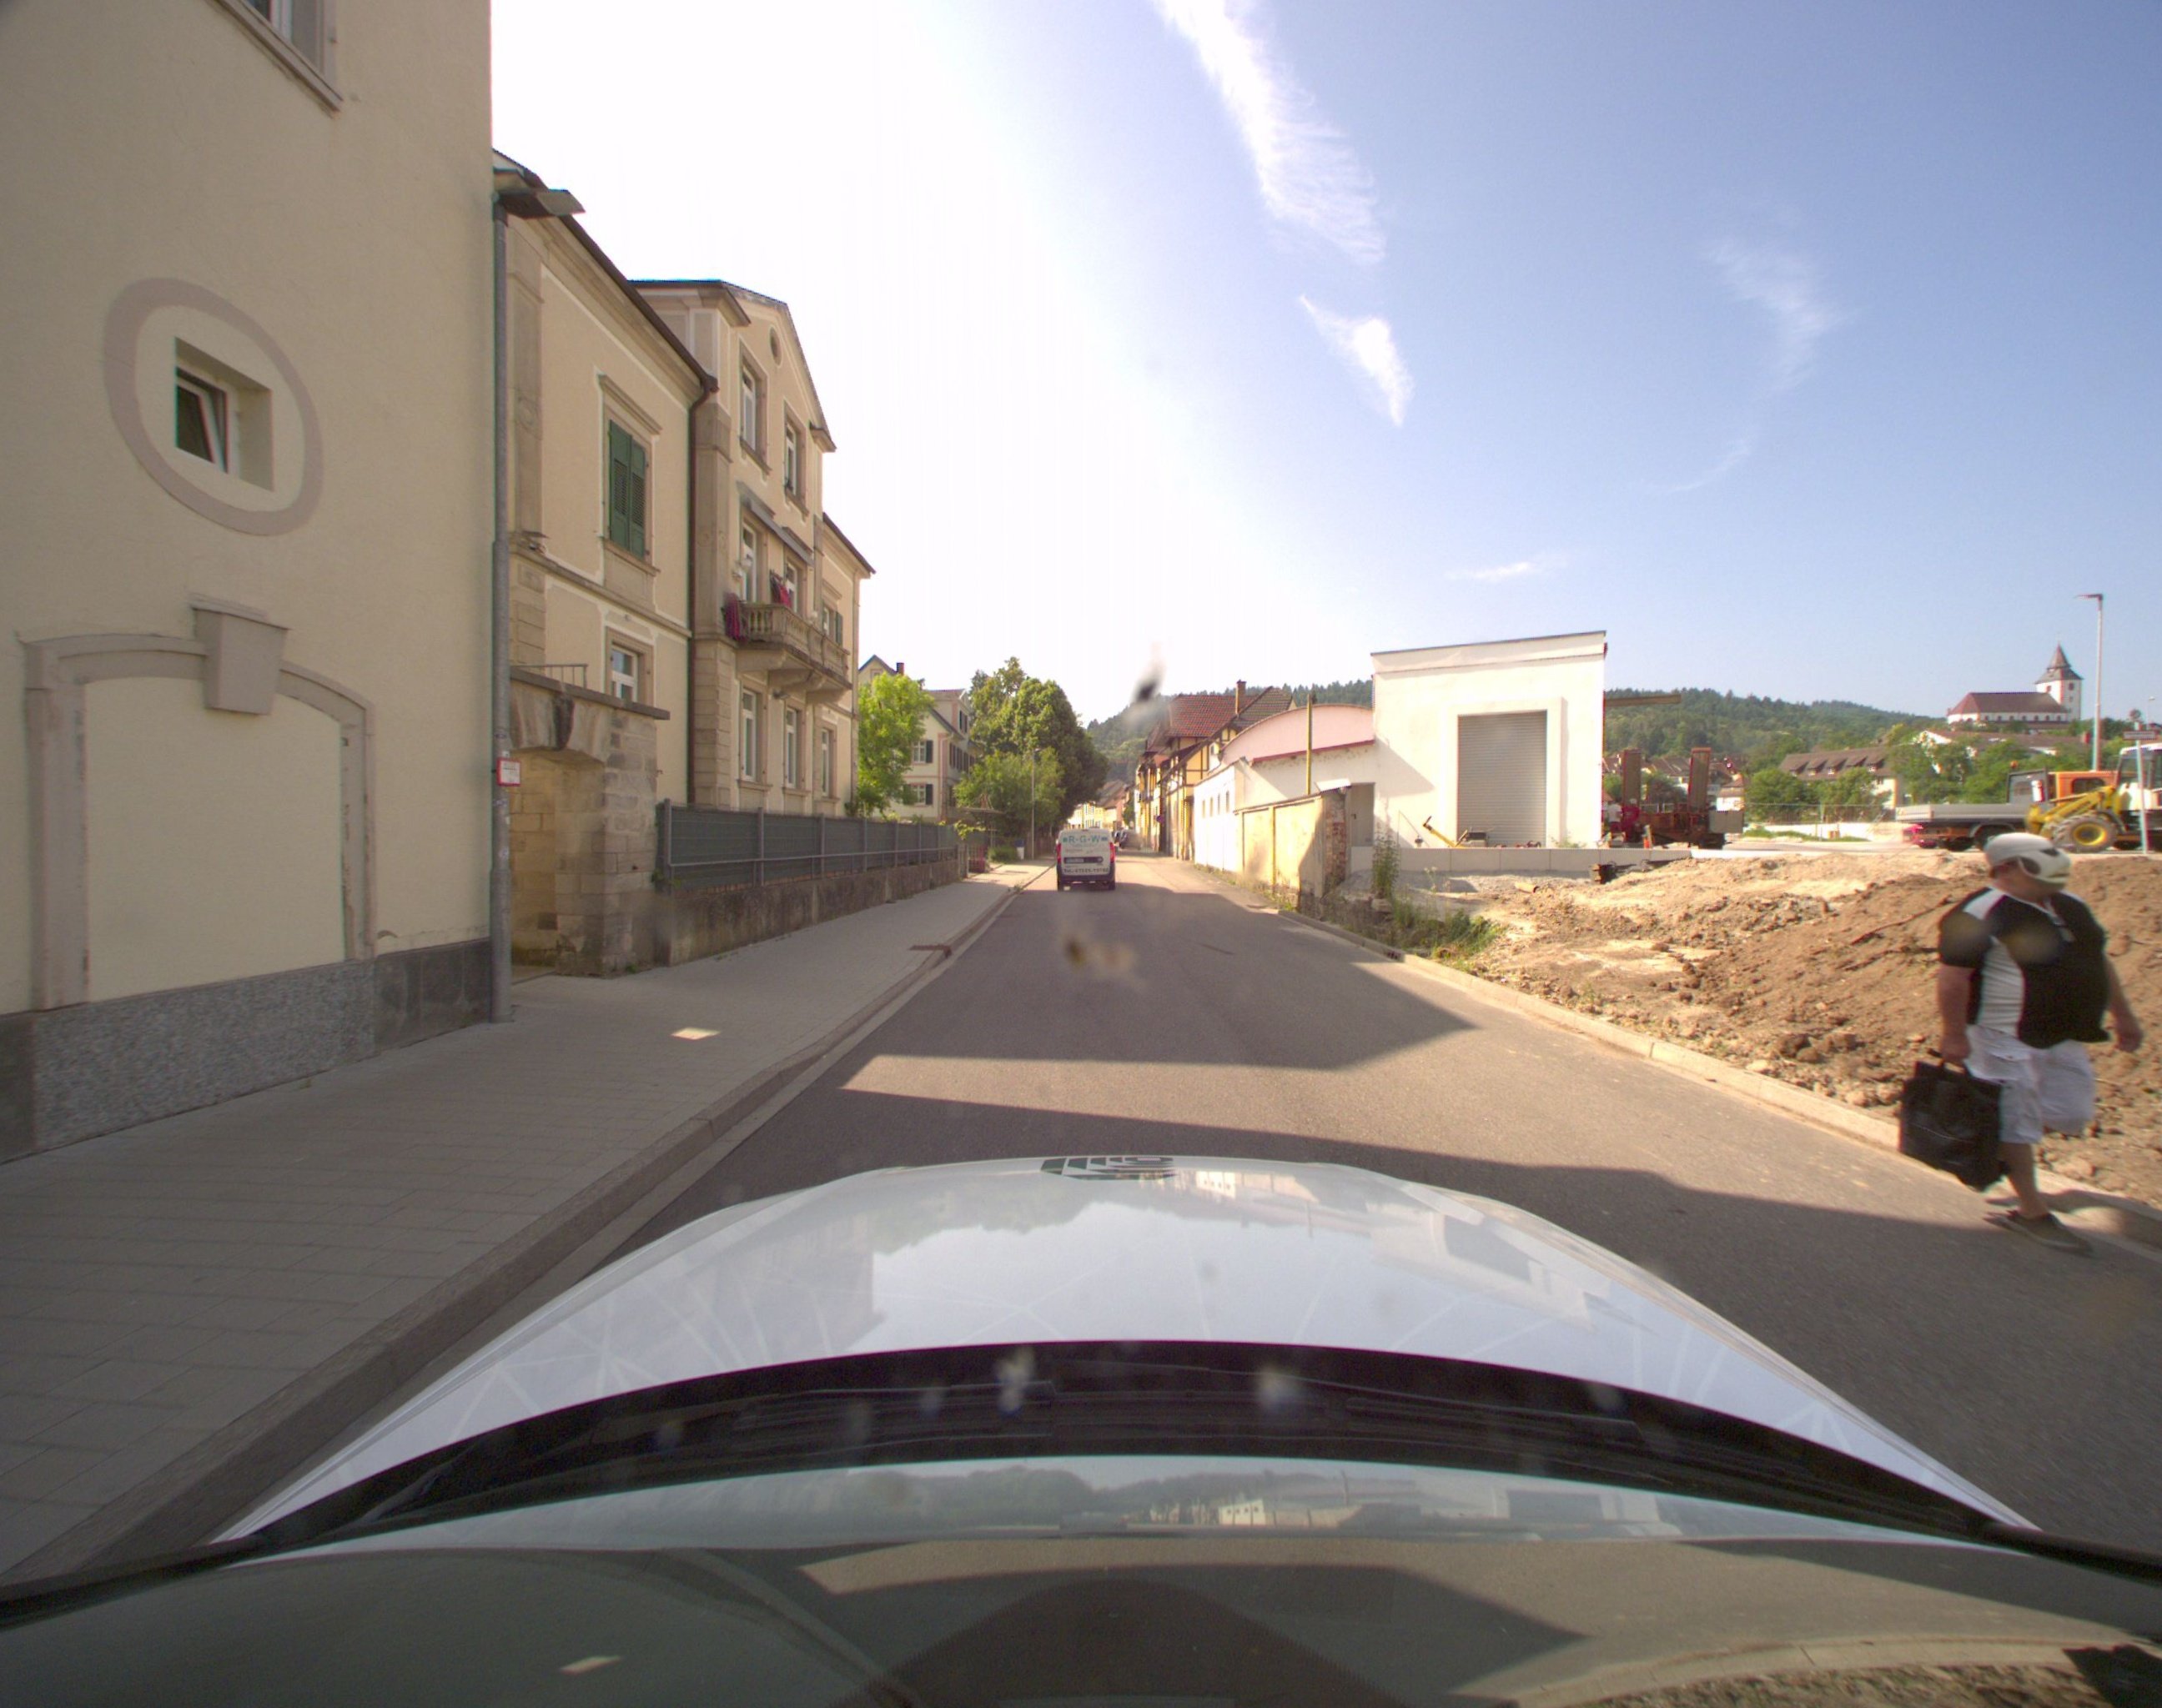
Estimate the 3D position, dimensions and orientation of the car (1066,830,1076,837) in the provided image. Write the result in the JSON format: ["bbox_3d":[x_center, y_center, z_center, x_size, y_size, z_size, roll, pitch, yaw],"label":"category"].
[{"bbox_3d":[-2.522,-5.010,200.101,1.772,1.798,3.986,0,1,-10],"label":"car"}]

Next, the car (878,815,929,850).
[{"bbox_3d":[-9.934,-1.211,45.876,1.817,1.772,4.681,4,2,-1],"label":"car"}]

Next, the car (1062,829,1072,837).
[{"bbox_3d":[-3.578,-5.322,206.285,1.772,1.798,3.986,0,1,-10],"label":"car"}]

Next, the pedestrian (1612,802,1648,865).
[{"bbox_3d":[16.720,-0.633,24.798,0.610,1.896,0.630,1,2,-33],"label":"pedestrian"}]

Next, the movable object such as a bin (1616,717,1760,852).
[{"bbox_3d":[18.364,-1.970,25.010,2.823,3.621,5.772,4,2,31],"label":"movable object such as a bin"}]

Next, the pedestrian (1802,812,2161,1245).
[{"bbox_3d":[3.947,0.688,3.577,0.885,1.683,0.718,2,0,1],"label":"pedestrian"}]

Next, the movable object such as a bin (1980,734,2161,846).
[{"bbox_3d":[25.437,-1.512,19.691,4.569,2.569,1.937,-1,0,26],"label":"movable object such as a bin"}]

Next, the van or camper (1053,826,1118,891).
[{"bbox_3d":[0.135,0.070,25.701,1.822,1.844,4.188,-1,1,0],"label":"van or camper"}]

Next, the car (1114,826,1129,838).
[{"bbox_3d":[5.315,-2.860,107.291,1.664,1.508,3.999,0,1,-1],"label":"car"}]

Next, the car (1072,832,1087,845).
[{"bbox_3d":[-0.377,-3.621,187.485,2.872,2.835,6.110,-1,1,-7],"label":"car"}]

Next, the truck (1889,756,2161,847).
[{"bbox_3d":[26.818,-1.390,22.957,5.265,2.265,2.232,-1,0,27],"label":"truck"}]

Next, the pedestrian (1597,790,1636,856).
[{"bbox_3d":[15.779,-0.913,23.993,0.605,1.896,0.634,2,2,-7],"label":"pedestrian"}]

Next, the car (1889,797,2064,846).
[{"bbox_3d":[30.129,-1.064,27.558,3.717,1.517,1.511,1,0,31],"label":"car"}]

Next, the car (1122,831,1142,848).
[{"bbox_3d":[5.006,-1.461,80.663,1.804,1.596,3.929,3,2,1],"label":"car"}]

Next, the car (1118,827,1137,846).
[{"bbox_3d":[5.192,-1.966,90.863,1.865,2.013,4.001,1,1,0],"label":"car"}]
